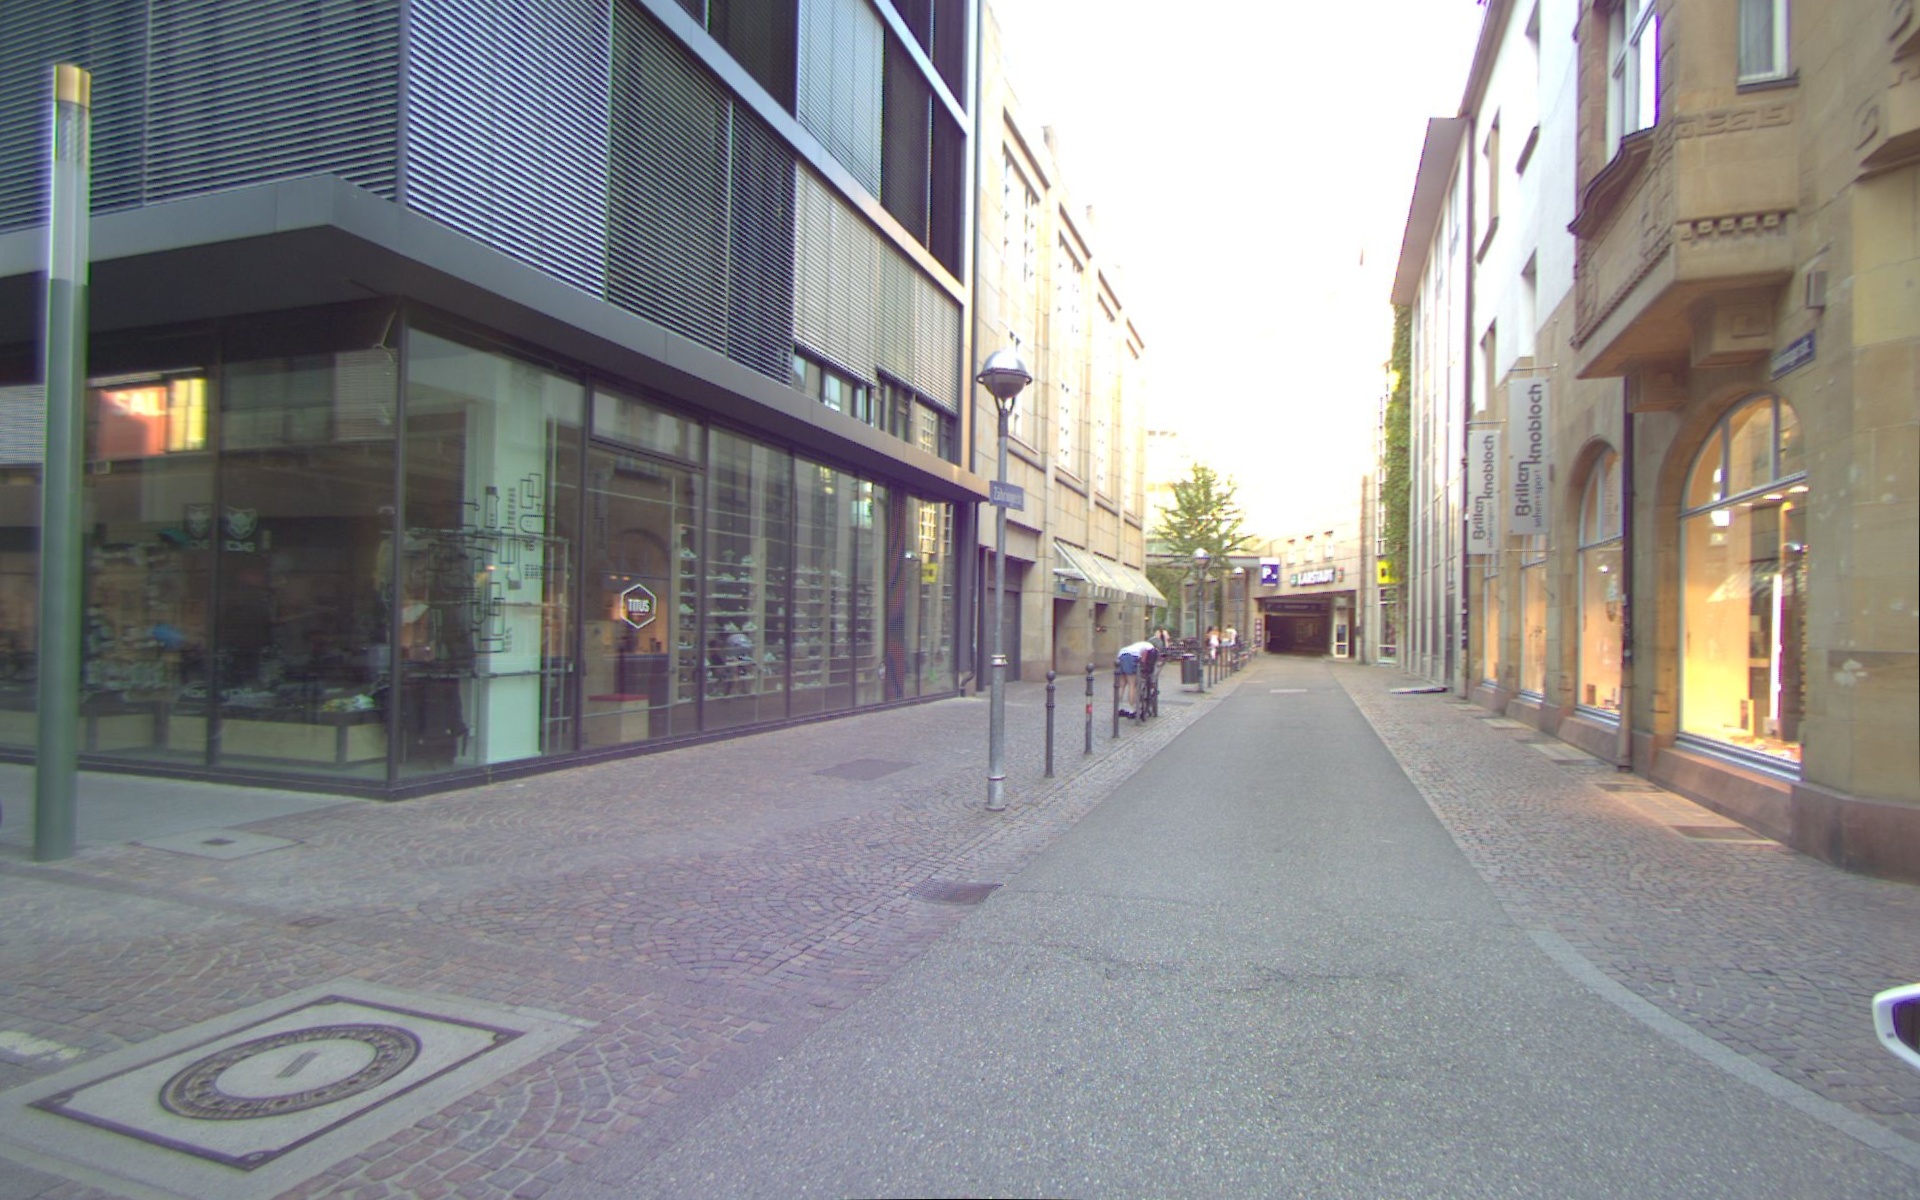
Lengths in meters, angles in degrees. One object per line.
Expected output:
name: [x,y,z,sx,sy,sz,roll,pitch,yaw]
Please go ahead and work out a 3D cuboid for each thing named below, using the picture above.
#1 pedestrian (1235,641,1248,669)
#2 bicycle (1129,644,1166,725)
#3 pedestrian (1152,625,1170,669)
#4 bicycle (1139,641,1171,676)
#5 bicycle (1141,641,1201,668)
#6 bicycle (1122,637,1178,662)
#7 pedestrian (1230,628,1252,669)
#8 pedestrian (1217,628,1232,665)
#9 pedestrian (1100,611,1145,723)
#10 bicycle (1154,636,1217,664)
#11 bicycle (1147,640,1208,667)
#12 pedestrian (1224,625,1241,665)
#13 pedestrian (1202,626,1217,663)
pedestrian: [11.899,2.311,42.449,0.458,1.183,0.521,1,-1,20]
bicycle: [3.162,1.385,16.839,0.405,1.248,1.828,0,-1,17]
pedestrian: [8.251,1.924,41.210,0.645,1.787,0.617,1,-1,6]
bicycle: [6.487,1.910,33.355,0.473,1.095,2.240,0,-2,25]
bicycle: [10.149,2.614,48.298,2.712,1.216,0.734,1,-1,1]
bicycle: [9.559,2.473,50.645,2.712,1.216,0.734,1,-1,1]
pedestrian: [12.326,2.122,44.001,0.849,1.780,0.799,1,-1,20]
pedestrian: [11.806,2.080,44.803,0.575,1.625,0.628,1,-1,20]
pedestrian: [2.737,1.102,16.909,0.598,1.814,0.910,0,-1,18]
bicycle: [10.273,2.258,45.821,2.712,1.216,0.734,1,-1,1]
bicycle: [10.218,2.519,47.283,2.712,1.216,0.734,1,-1,1]
pedestrian: [12.403,2.040,45.697,0.620,1.780,0.799,1,-1,20]
pedestrian: [11.177,1.991,44.996,0.580,1.625,0.666,1,-1,20]
